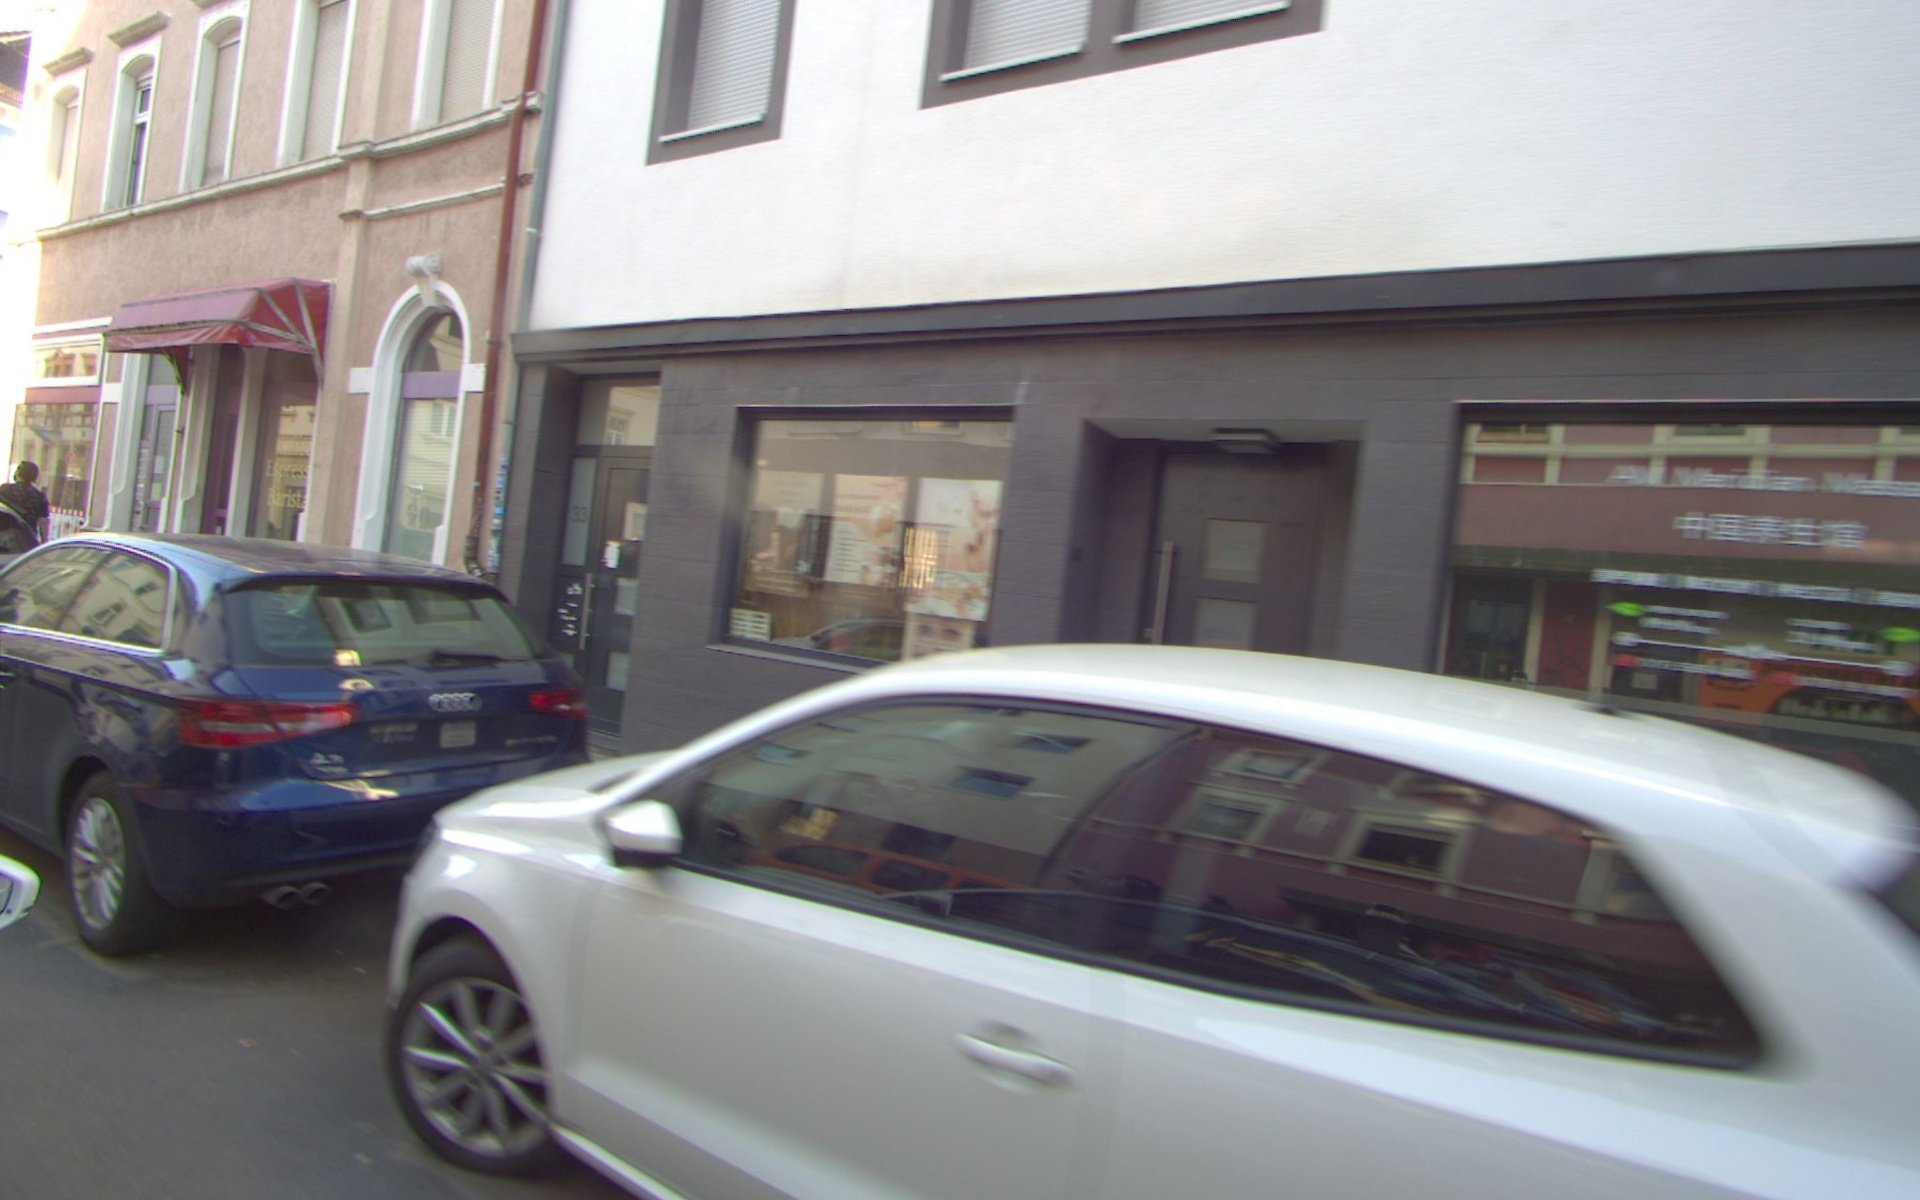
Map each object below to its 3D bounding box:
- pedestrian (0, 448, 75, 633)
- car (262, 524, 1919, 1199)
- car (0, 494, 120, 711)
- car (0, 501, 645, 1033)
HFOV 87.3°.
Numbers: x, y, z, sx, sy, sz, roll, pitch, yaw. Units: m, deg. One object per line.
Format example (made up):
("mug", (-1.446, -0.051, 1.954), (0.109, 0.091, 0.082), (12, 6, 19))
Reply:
("pedestrian", (-10.973, -0.690, 11.690), (0.751, 2.037, 0.645), (6, -2, 31))
("car", (0.044, 0.734, 2.585), (3.754, 1.525, 1.667), (6, 1, 33))
("car", (-8.324, -0.152, 7.750), (3.738, 1.505, 1.751), (6, -1, 33))
("car", (-3.475, 0.379, 4.653), (3.905, 1.495, 1.646), (6, 2, 32))
